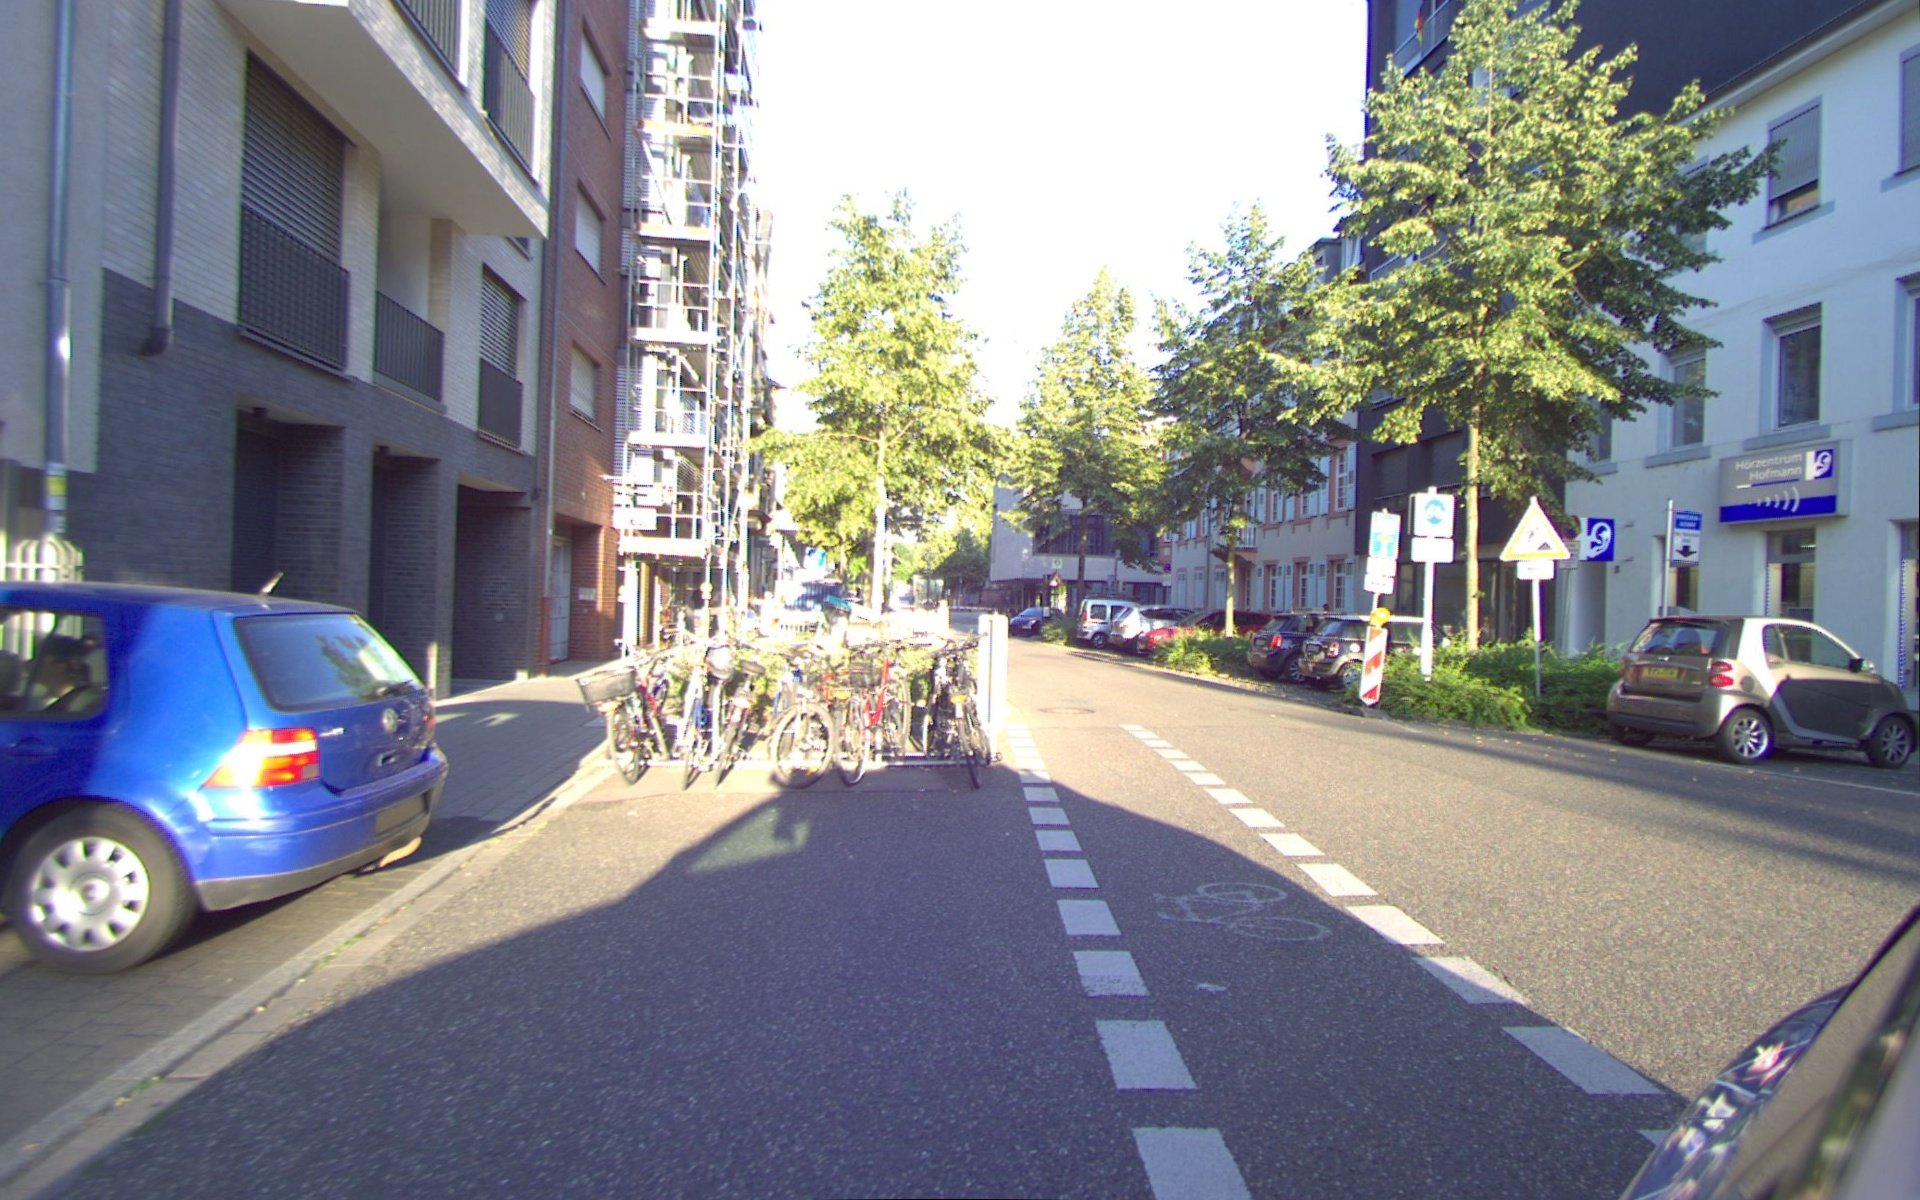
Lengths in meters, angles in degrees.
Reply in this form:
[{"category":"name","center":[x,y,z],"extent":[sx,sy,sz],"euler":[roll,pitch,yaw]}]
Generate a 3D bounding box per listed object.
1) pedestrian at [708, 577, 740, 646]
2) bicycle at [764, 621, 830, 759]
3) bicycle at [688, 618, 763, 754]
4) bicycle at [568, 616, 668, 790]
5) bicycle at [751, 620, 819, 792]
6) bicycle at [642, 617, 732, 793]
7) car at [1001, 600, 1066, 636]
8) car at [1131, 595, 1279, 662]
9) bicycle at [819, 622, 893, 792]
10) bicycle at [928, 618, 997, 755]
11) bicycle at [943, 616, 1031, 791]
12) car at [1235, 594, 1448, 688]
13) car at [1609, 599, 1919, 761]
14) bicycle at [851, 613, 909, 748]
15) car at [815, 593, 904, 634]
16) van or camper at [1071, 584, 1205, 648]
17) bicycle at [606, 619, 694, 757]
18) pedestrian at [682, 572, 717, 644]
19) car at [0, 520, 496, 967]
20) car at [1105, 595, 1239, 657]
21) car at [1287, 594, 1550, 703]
[{"category":"pedestrian","center":[-6.280,0.310,26.936],"extent":[0.728,1.806,0.657],"euler":[2,0,-7]},{"category":"bicycle","center":[-1.529,0.808,9.663],"extent":[0.479,1.164,1.554],"euler":[2,0,-5]},{"category":"bicycle","center":[-2.224,0.775,9.716],"extent":[0.459,1.158,1.554],"euler":[2,0,-5]},{"category":"bicycle","center":[-2.631,0.744,7.889],"extent":[0.380,1.198,1.407],"euler":[2,0,-5]},{"category":"bicycle","center":[-1.349,0.772,7.965],"extent":[0.374,1.174,1.554],"euler":[2,0,-5]},{"category":"bicycle","center":[-2.098,0.754,7.912],"extent":[0.379,1.204,1.554],"euler":[2,0,-5]},{"category":"car","center":[3.637,0.877,49.492],"extent":[1.841,1.588,3.661],"euler":[3,0,27]},{"category":"car","center":[7.042,0.805,29.283],"extent":[3.622,1.691,1.861],"euler":[3,0,-7]},{"category":"bicycle","center":[-0.802,0.789,8.078],"extent":[0.410,1.171,1.552],"euler":[2,0,-1]},{"category":"bicycle","center":[-0.001,0.797,9.946],"extent":[0.499,1.193,1.554],"euler":[2,0,-5]},{"category":"bicycle","center":[0.183,0.774,8.180],"extent":[0.489,1.236,1.554],"euler":[2,0,-5]},{"category":"car","center":[7.908,0.826,21.155],"extent":[3.622,1.691,1.861],"euler":[3,0,-7]},{"category":"car","center":[9.333,0.852,11.186],"extent":[3.410,1.595,1.510],"euler":[2,0,-8]},{"category":"bicycle","center":[-0.789,0.733,9.866],"extent":[0.479,1.178,1.554],"euler":[2,0,-5]},{"category":"car","center":[-4.560,0.607,46.453],"extent":[3.922,1.705,1.892],"euler":[2,0,-3]},{"category":"van or camper","center":[6.482,0.577,37.035],"extent":[4.364,2.031,1.861],"euler":[3,0,-7]},{"category":"bicycle","center":[-2.906,0.784,9.603],"extent":[0.449,1.146,1.554],"euler":[2,0,-5]},{"category":"pedestrian","center":[-6.711,0.211,26.099],"extent":[0.729,1.806,0.657],"euler":[1,0,-5]},{"category":"car","center":[-4.495,0.436,4.473],"extent":[4.037,1.583,1.695],"euler":[4,0,-4]},{"category":"car","center":[6.639,0.794,31.877],"extent":[3.622,1.691,1.861],"euler":[3,0,-7]},{"category":"car","center":[8.366,0.862,18.660],"extent":[3.927,1.691,1.861],"euler":[3,0,-7]}]
